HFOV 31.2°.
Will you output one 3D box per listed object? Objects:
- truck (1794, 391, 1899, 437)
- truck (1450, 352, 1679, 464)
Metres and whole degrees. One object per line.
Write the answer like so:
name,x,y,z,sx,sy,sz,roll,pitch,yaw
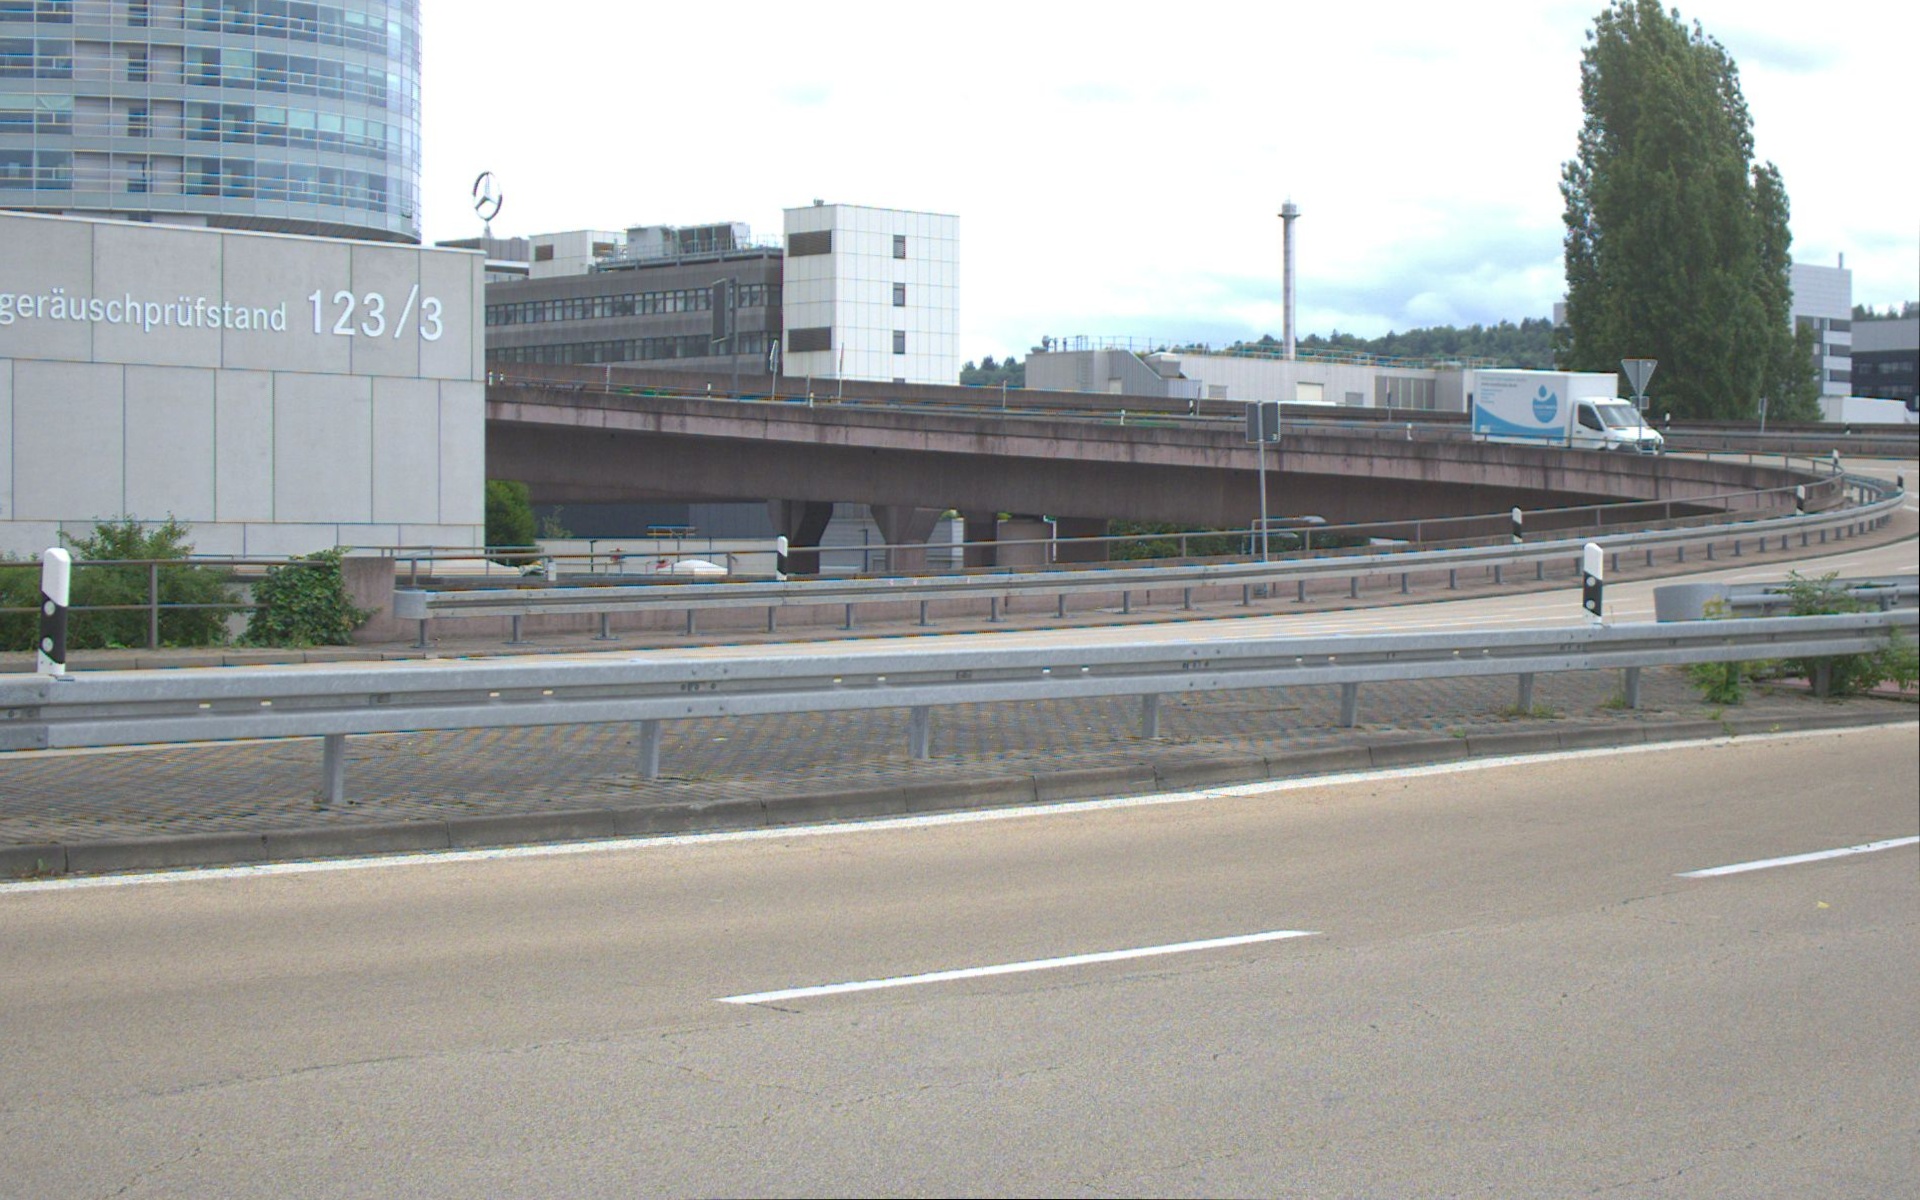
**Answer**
truck,49.289,-10.326,191.086,5.621,2.156,2.000,2,0,-27
truck,18.859,-5.947,107.686,2.322,3.258,7.349,2,0,-37
